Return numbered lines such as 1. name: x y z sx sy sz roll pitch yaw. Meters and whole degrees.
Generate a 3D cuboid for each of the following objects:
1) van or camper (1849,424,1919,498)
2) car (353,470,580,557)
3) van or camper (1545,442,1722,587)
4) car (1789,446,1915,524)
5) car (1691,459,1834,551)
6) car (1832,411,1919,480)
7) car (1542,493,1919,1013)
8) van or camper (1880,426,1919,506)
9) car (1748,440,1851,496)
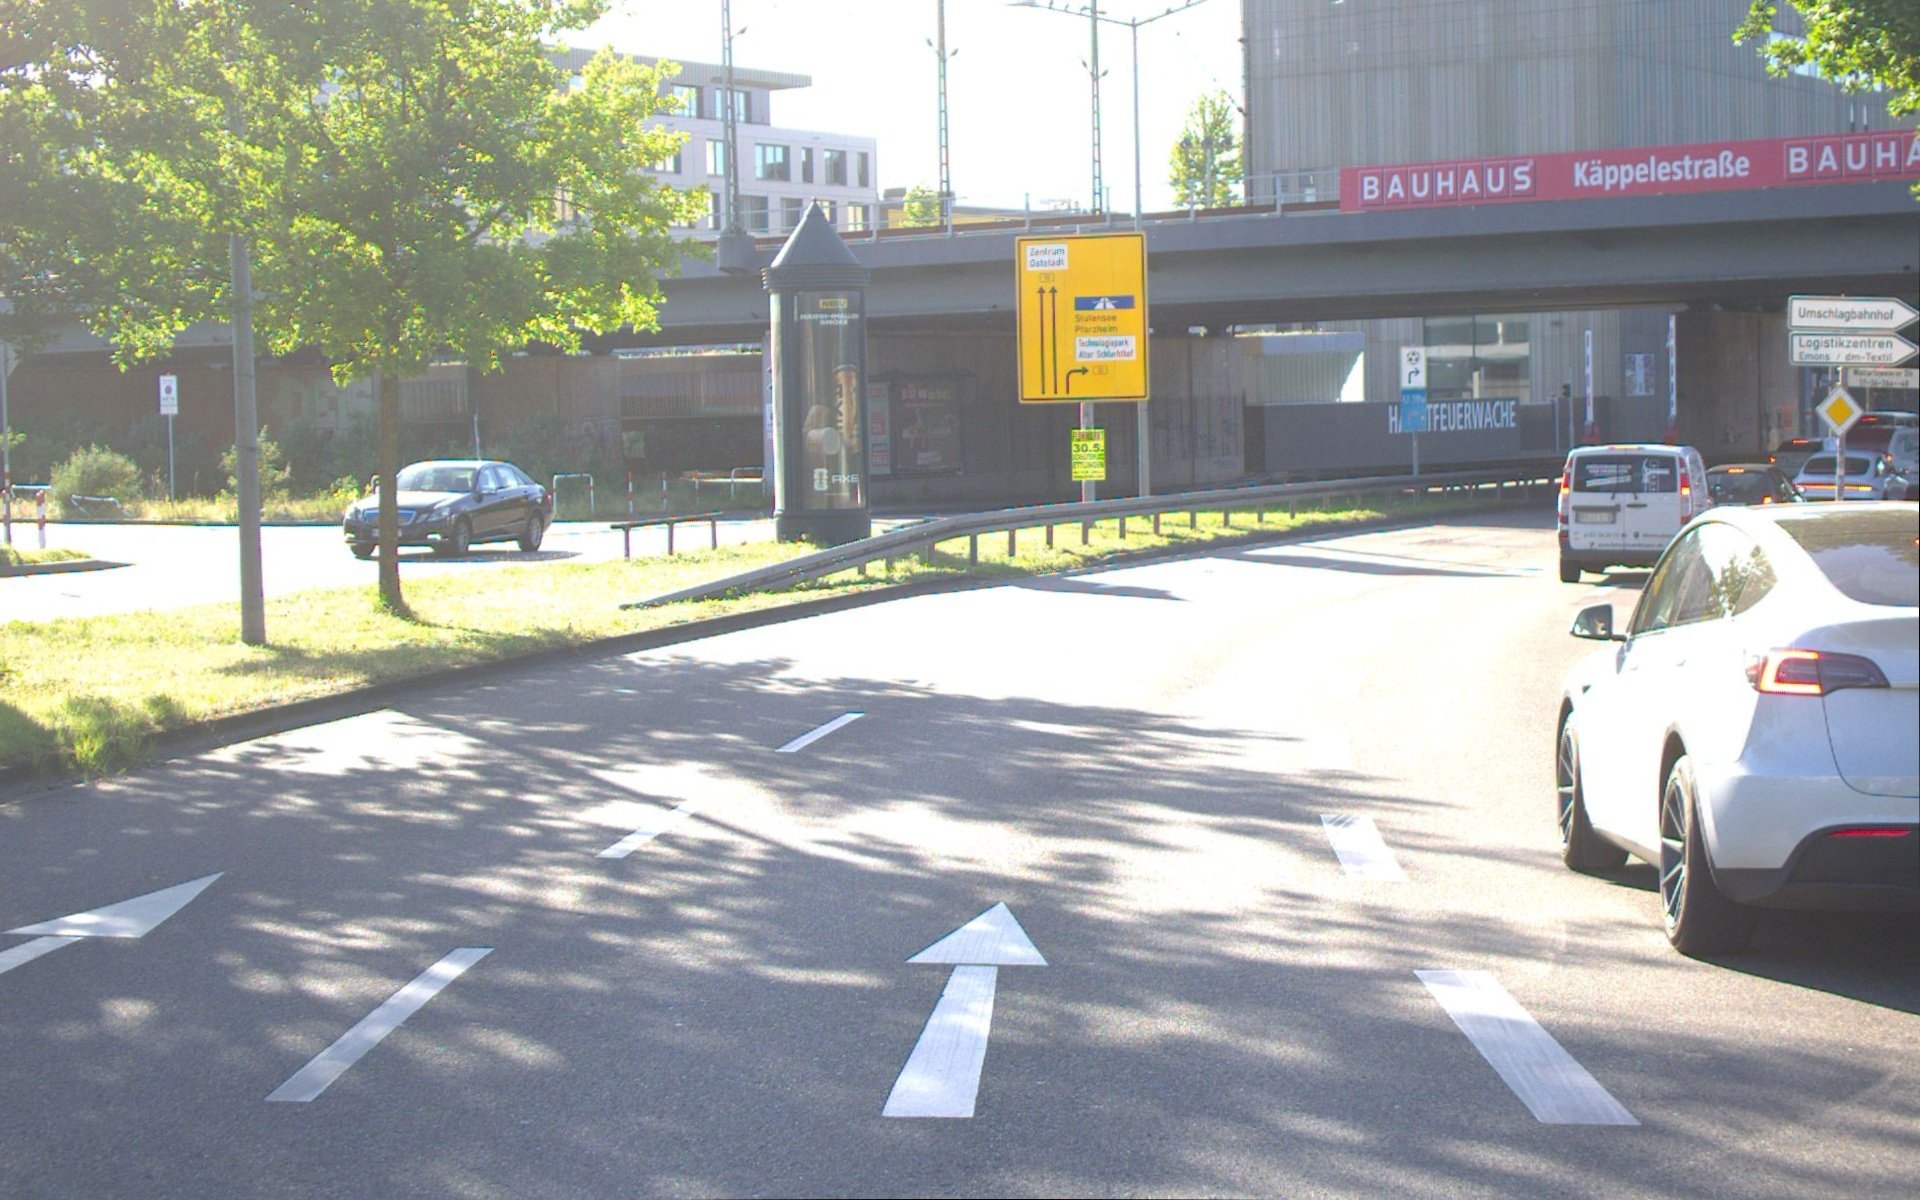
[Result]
1. van or camper: 24.062 -3.572 87.664 1.757 1.807 3.953 1 4 29
2. car: -7.761 -1.409 54.548 1.801 1.305 4.612 1 2 16
3. van or camper: 9.521 -1.249 48.320 1.960 1.877 4.877 0 3 17
4. car: 18.006 -2.336 69.275 1.765 1.470 4.284 0 3 24
5. car: 13.862 -1.665 59.275 1.606 1.429 3.674 2 4 26
6. car: 27.030 -4.516 100.255 1.869 1.940 4.589 1 4 31
7. car: 3.487 0.469 13.103 1.914 1.635 4.410 2 1 2
8. van or camper: 22.838 -3.135 80.001 1.828 1.784 4.539 2 4 27
9. car: 22.865 -3.602 93.557 1.711 1.447 3.737 1 4 31
